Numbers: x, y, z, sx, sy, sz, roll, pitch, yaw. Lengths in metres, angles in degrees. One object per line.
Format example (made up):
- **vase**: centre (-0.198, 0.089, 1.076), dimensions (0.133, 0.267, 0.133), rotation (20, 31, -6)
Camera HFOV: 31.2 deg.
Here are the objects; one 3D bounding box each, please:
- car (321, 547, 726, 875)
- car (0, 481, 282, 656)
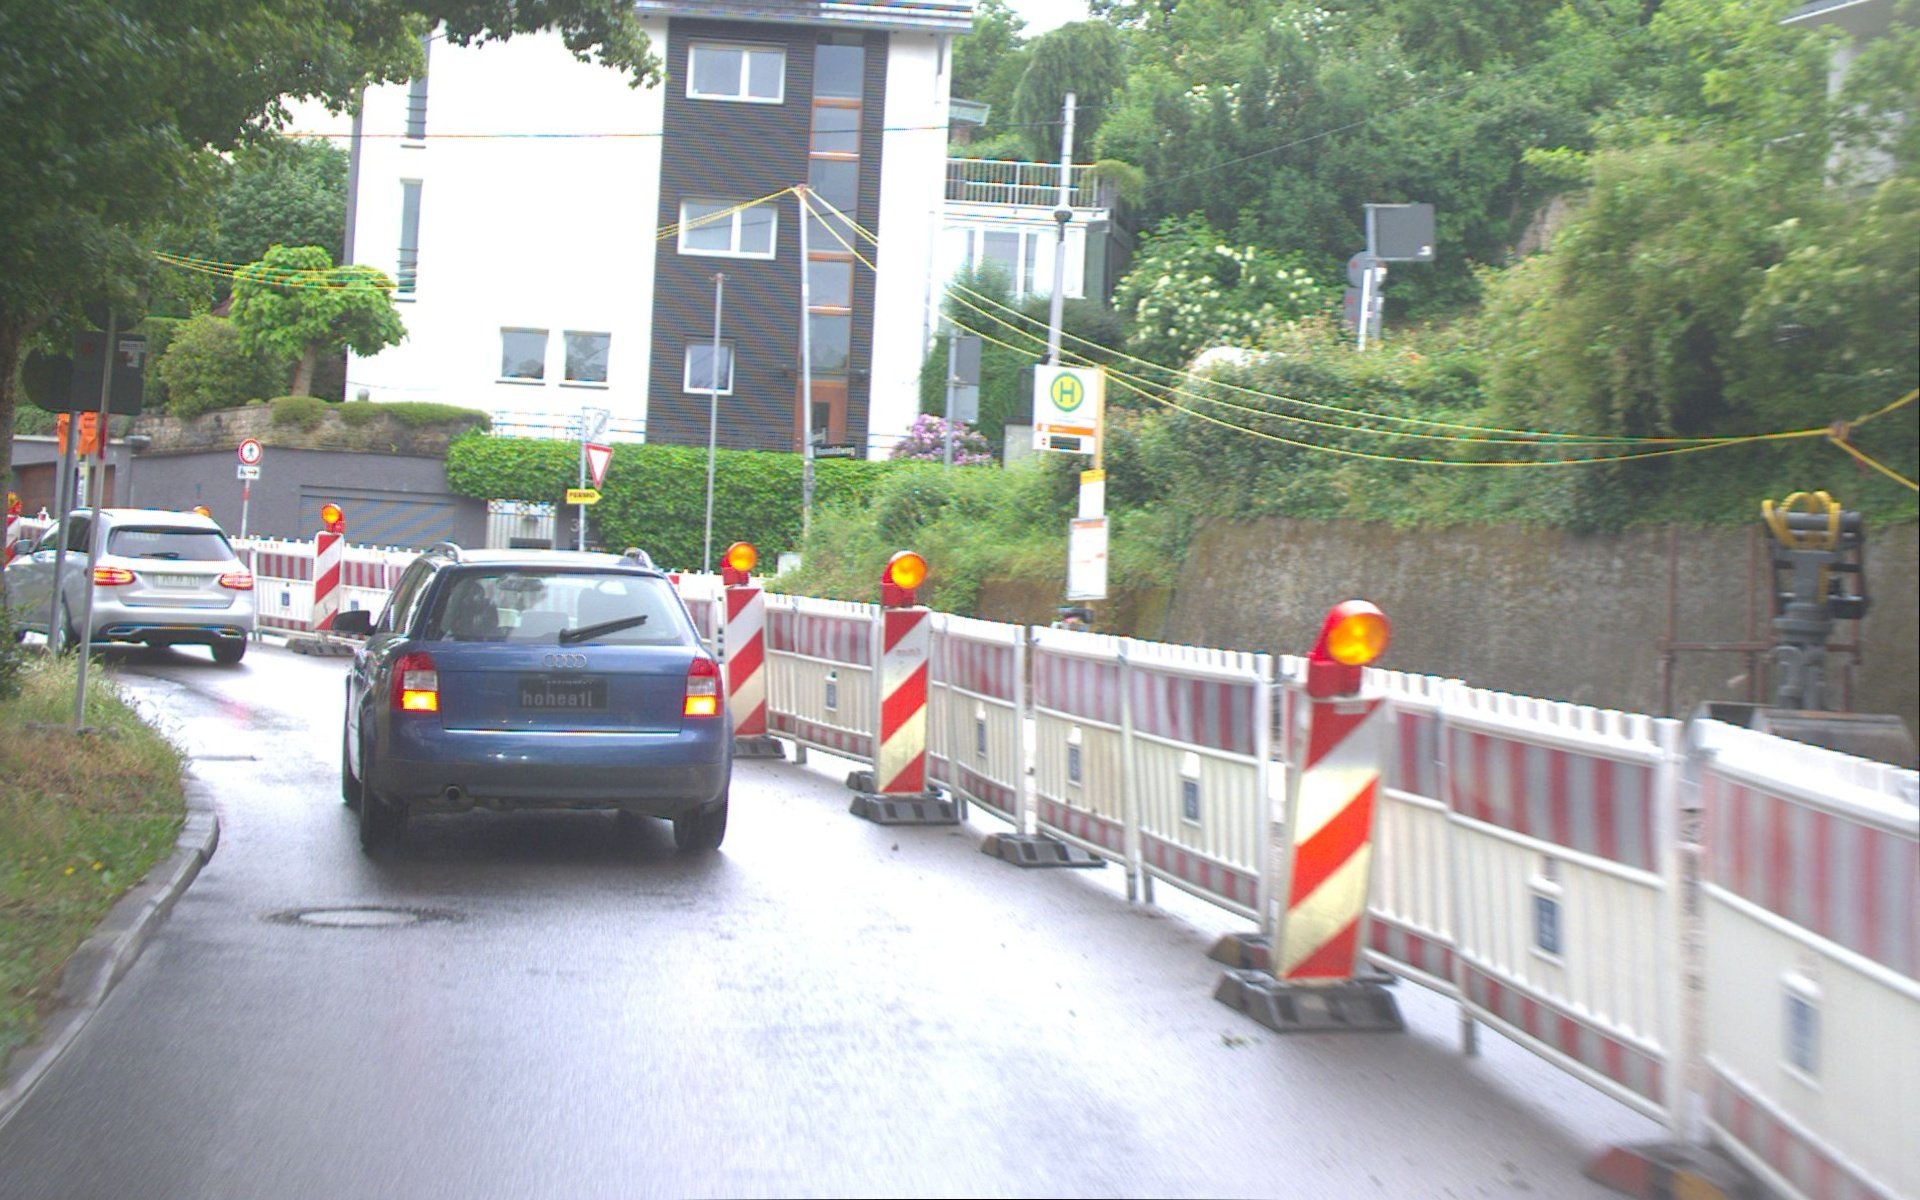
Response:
- **car**: centre (-2.243, 0.463, 17.361), dimensions (1.785, 1.437, 3.965), rotation (-1, 1, -9)
- **car**: centre (-8.280, -0.340, 34.275), dimensions (1.926, 1.612, 4.321), rotation (1, 1, -26)
